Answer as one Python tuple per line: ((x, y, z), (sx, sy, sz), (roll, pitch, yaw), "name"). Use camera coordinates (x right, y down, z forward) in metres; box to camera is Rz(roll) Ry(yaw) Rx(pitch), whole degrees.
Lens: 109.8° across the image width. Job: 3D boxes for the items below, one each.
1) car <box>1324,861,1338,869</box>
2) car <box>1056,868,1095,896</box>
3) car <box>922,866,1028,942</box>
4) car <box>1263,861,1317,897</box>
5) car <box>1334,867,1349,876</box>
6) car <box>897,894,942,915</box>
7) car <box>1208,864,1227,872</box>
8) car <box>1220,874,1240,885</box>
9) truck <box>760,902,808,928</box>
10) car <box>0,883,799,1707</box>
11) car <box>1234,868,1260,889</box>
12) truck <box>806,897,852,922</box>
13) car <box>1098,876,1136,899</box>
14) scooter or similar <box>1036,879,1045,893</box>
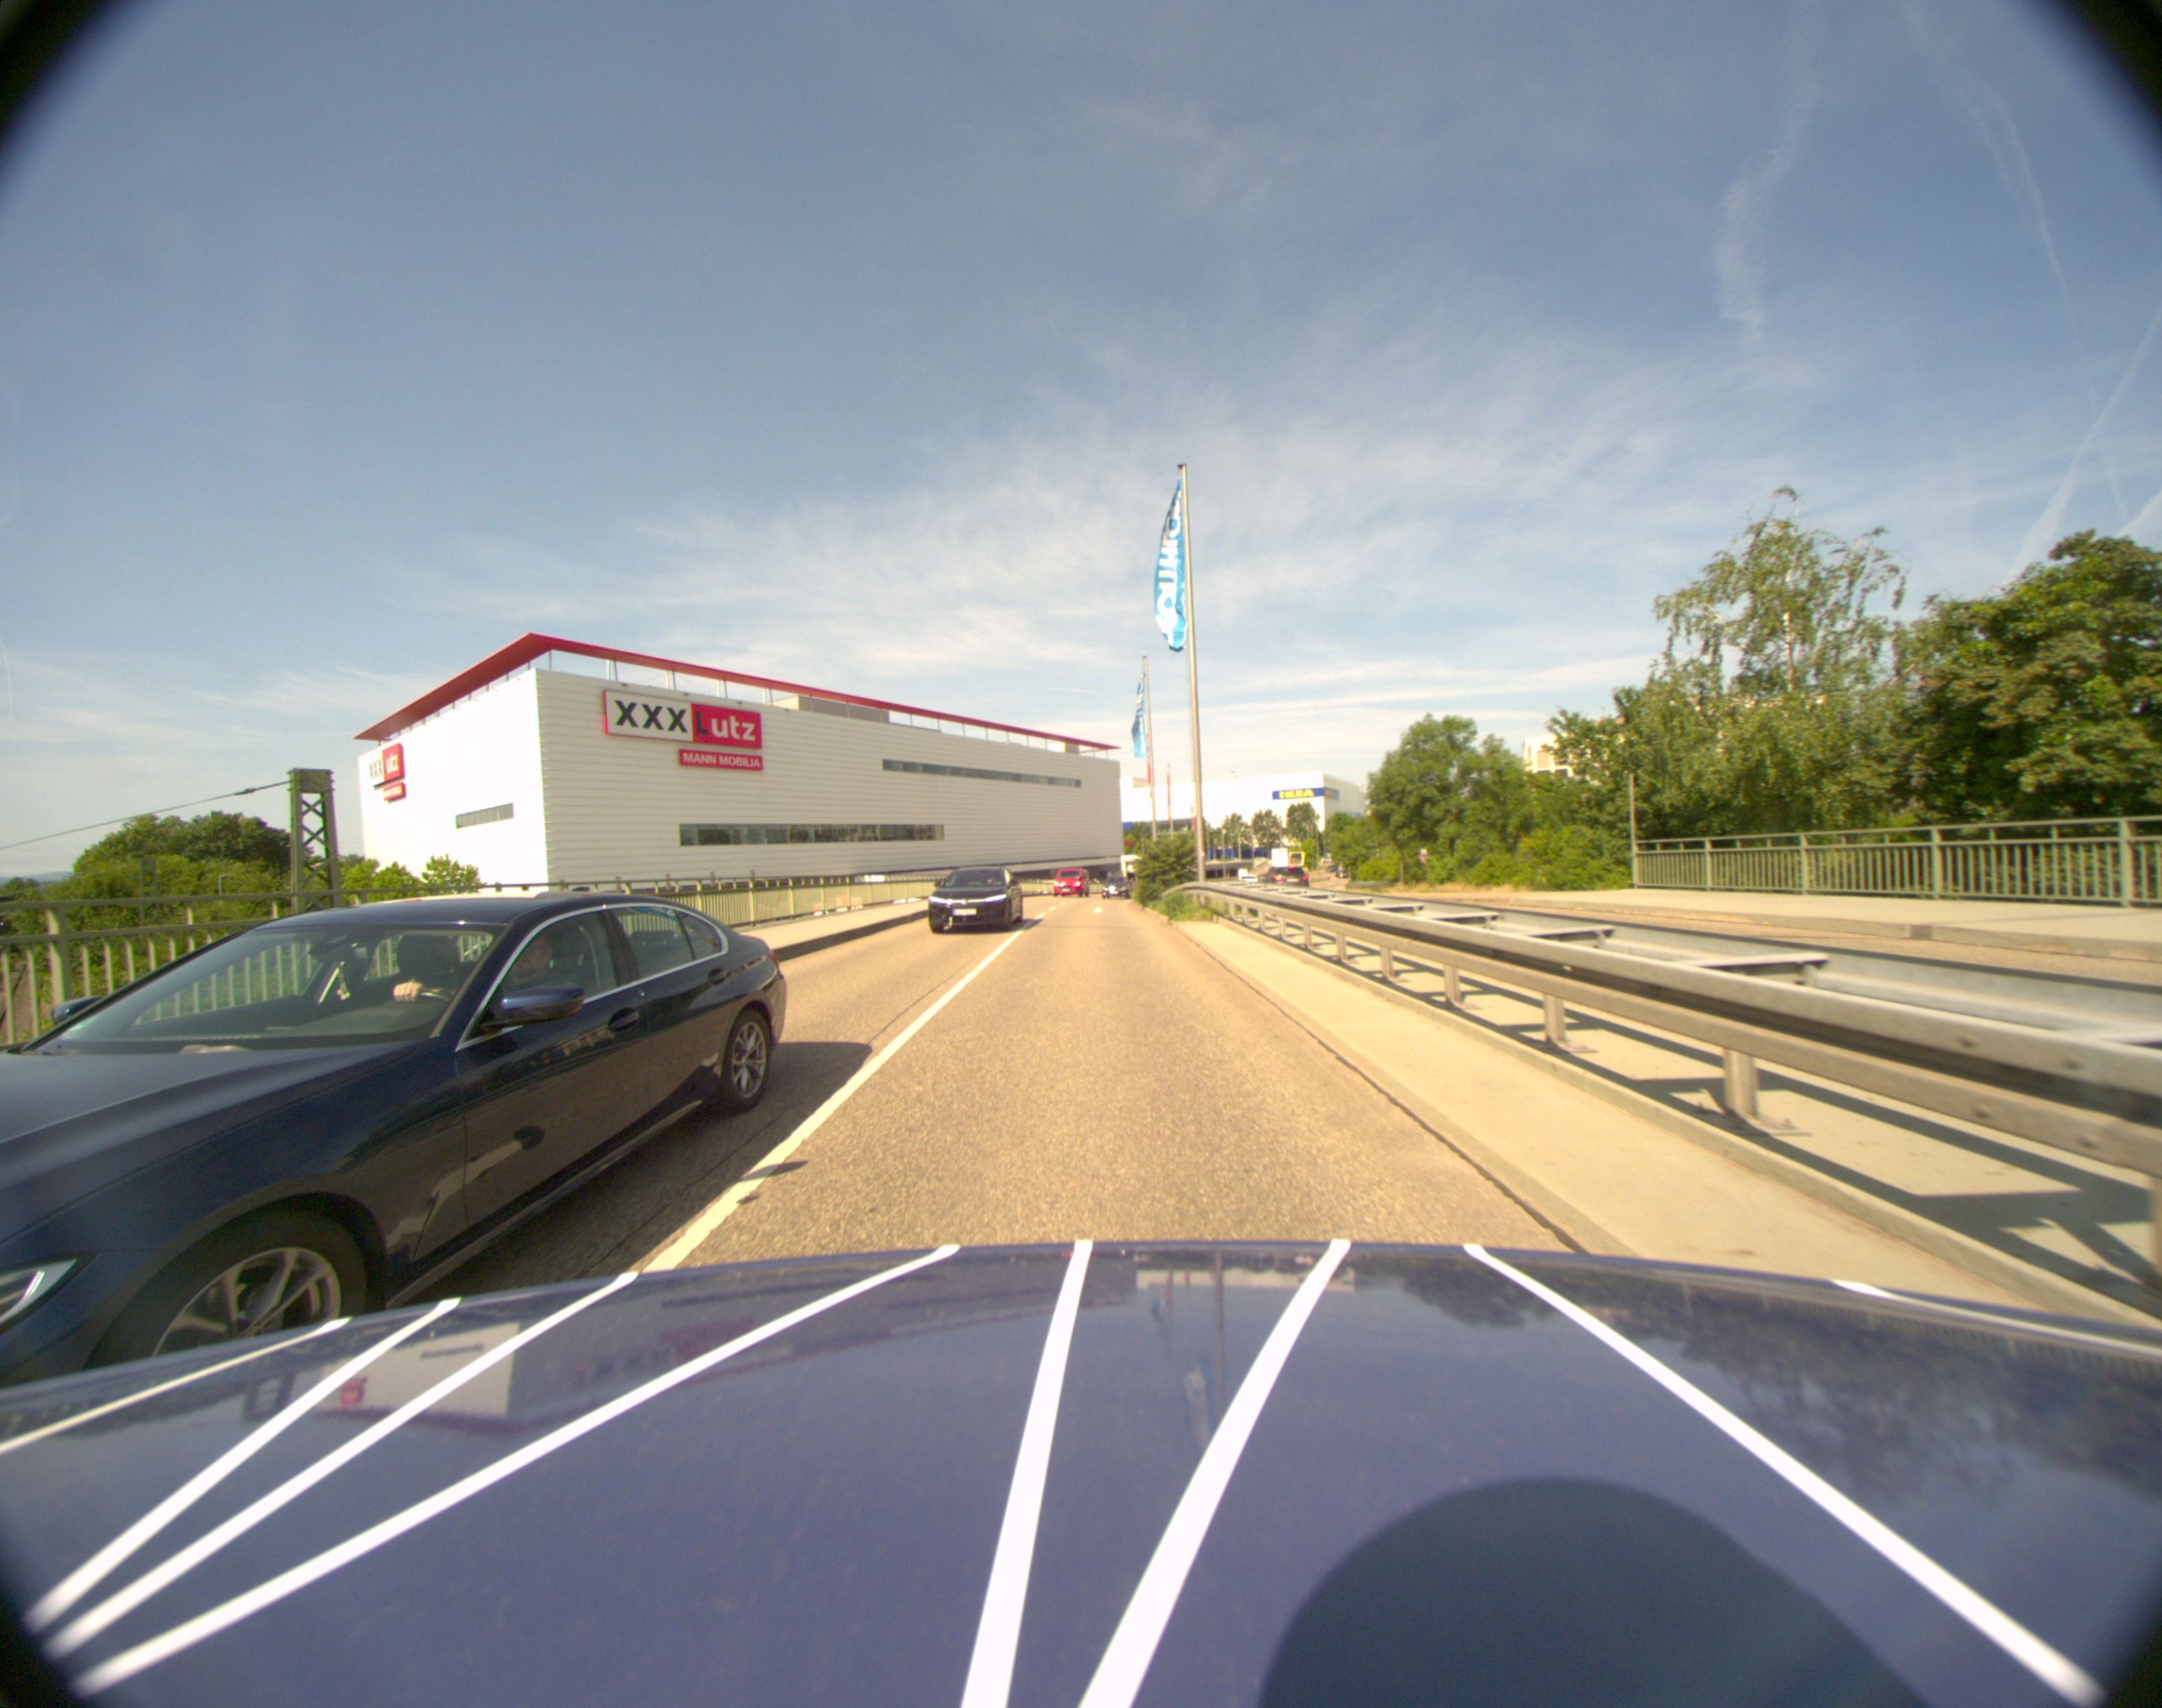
((56.273, 2.474, 171.035), (1.822, 1.466, 4.007), (-1, 1, 33), "car")
((-0.359, 1.980, 53.413), (1.986, 1.895, 4.149), (1, -2, 10), "car")
((-2.507, 1.147, 19.004), (1.861, 1.520, 4.144), (-3, 1, 2), "car")
((10.321, 1.273, 37.890), (1.885, 1.625, 4.228), (-2, -2, 6), "car")
((49.378, 3.237, 144.103), (1.859, 1.520, 4.146), (-1, 1, 9), "car")
((-21.815, 6.869, 102.470), (5.996, 2.605, 2.136), (-3, 1, 31), "car")
((34.138, 3.520, 190.421), (4.308, 1.823, 2.004), (-2, 0, 25), "car")
((23.634, 3.992, 120.113), (1.822, 1.466, 4.007), (-1, 1, 31), "car")
((-35.492, 7.248, 90.876), (5.996, 2.910, 2.136), (-3, 1, 34), "truck")
((-3.016, 1.020, 3.227), (1.792, 1.475, 4.519), (-3, 1, 1), "car")
((13.060, 1.903, 59.925), (1.800, 1.542, 4.004), (0, -1, 10), "car")
((-32.090, 7.044, 96.678), (5.996, 2.910, 2.136), (-3, 1, 34), "truck")
((2.380, 2.162, 48.931), (1.848, 1.409, 4.006), (1, -2, 11), "car")
((-3.387, 2.665, 63.817), (0.512, 1.135, 1.483), (-2, -2, 5), "scooter or similar")
